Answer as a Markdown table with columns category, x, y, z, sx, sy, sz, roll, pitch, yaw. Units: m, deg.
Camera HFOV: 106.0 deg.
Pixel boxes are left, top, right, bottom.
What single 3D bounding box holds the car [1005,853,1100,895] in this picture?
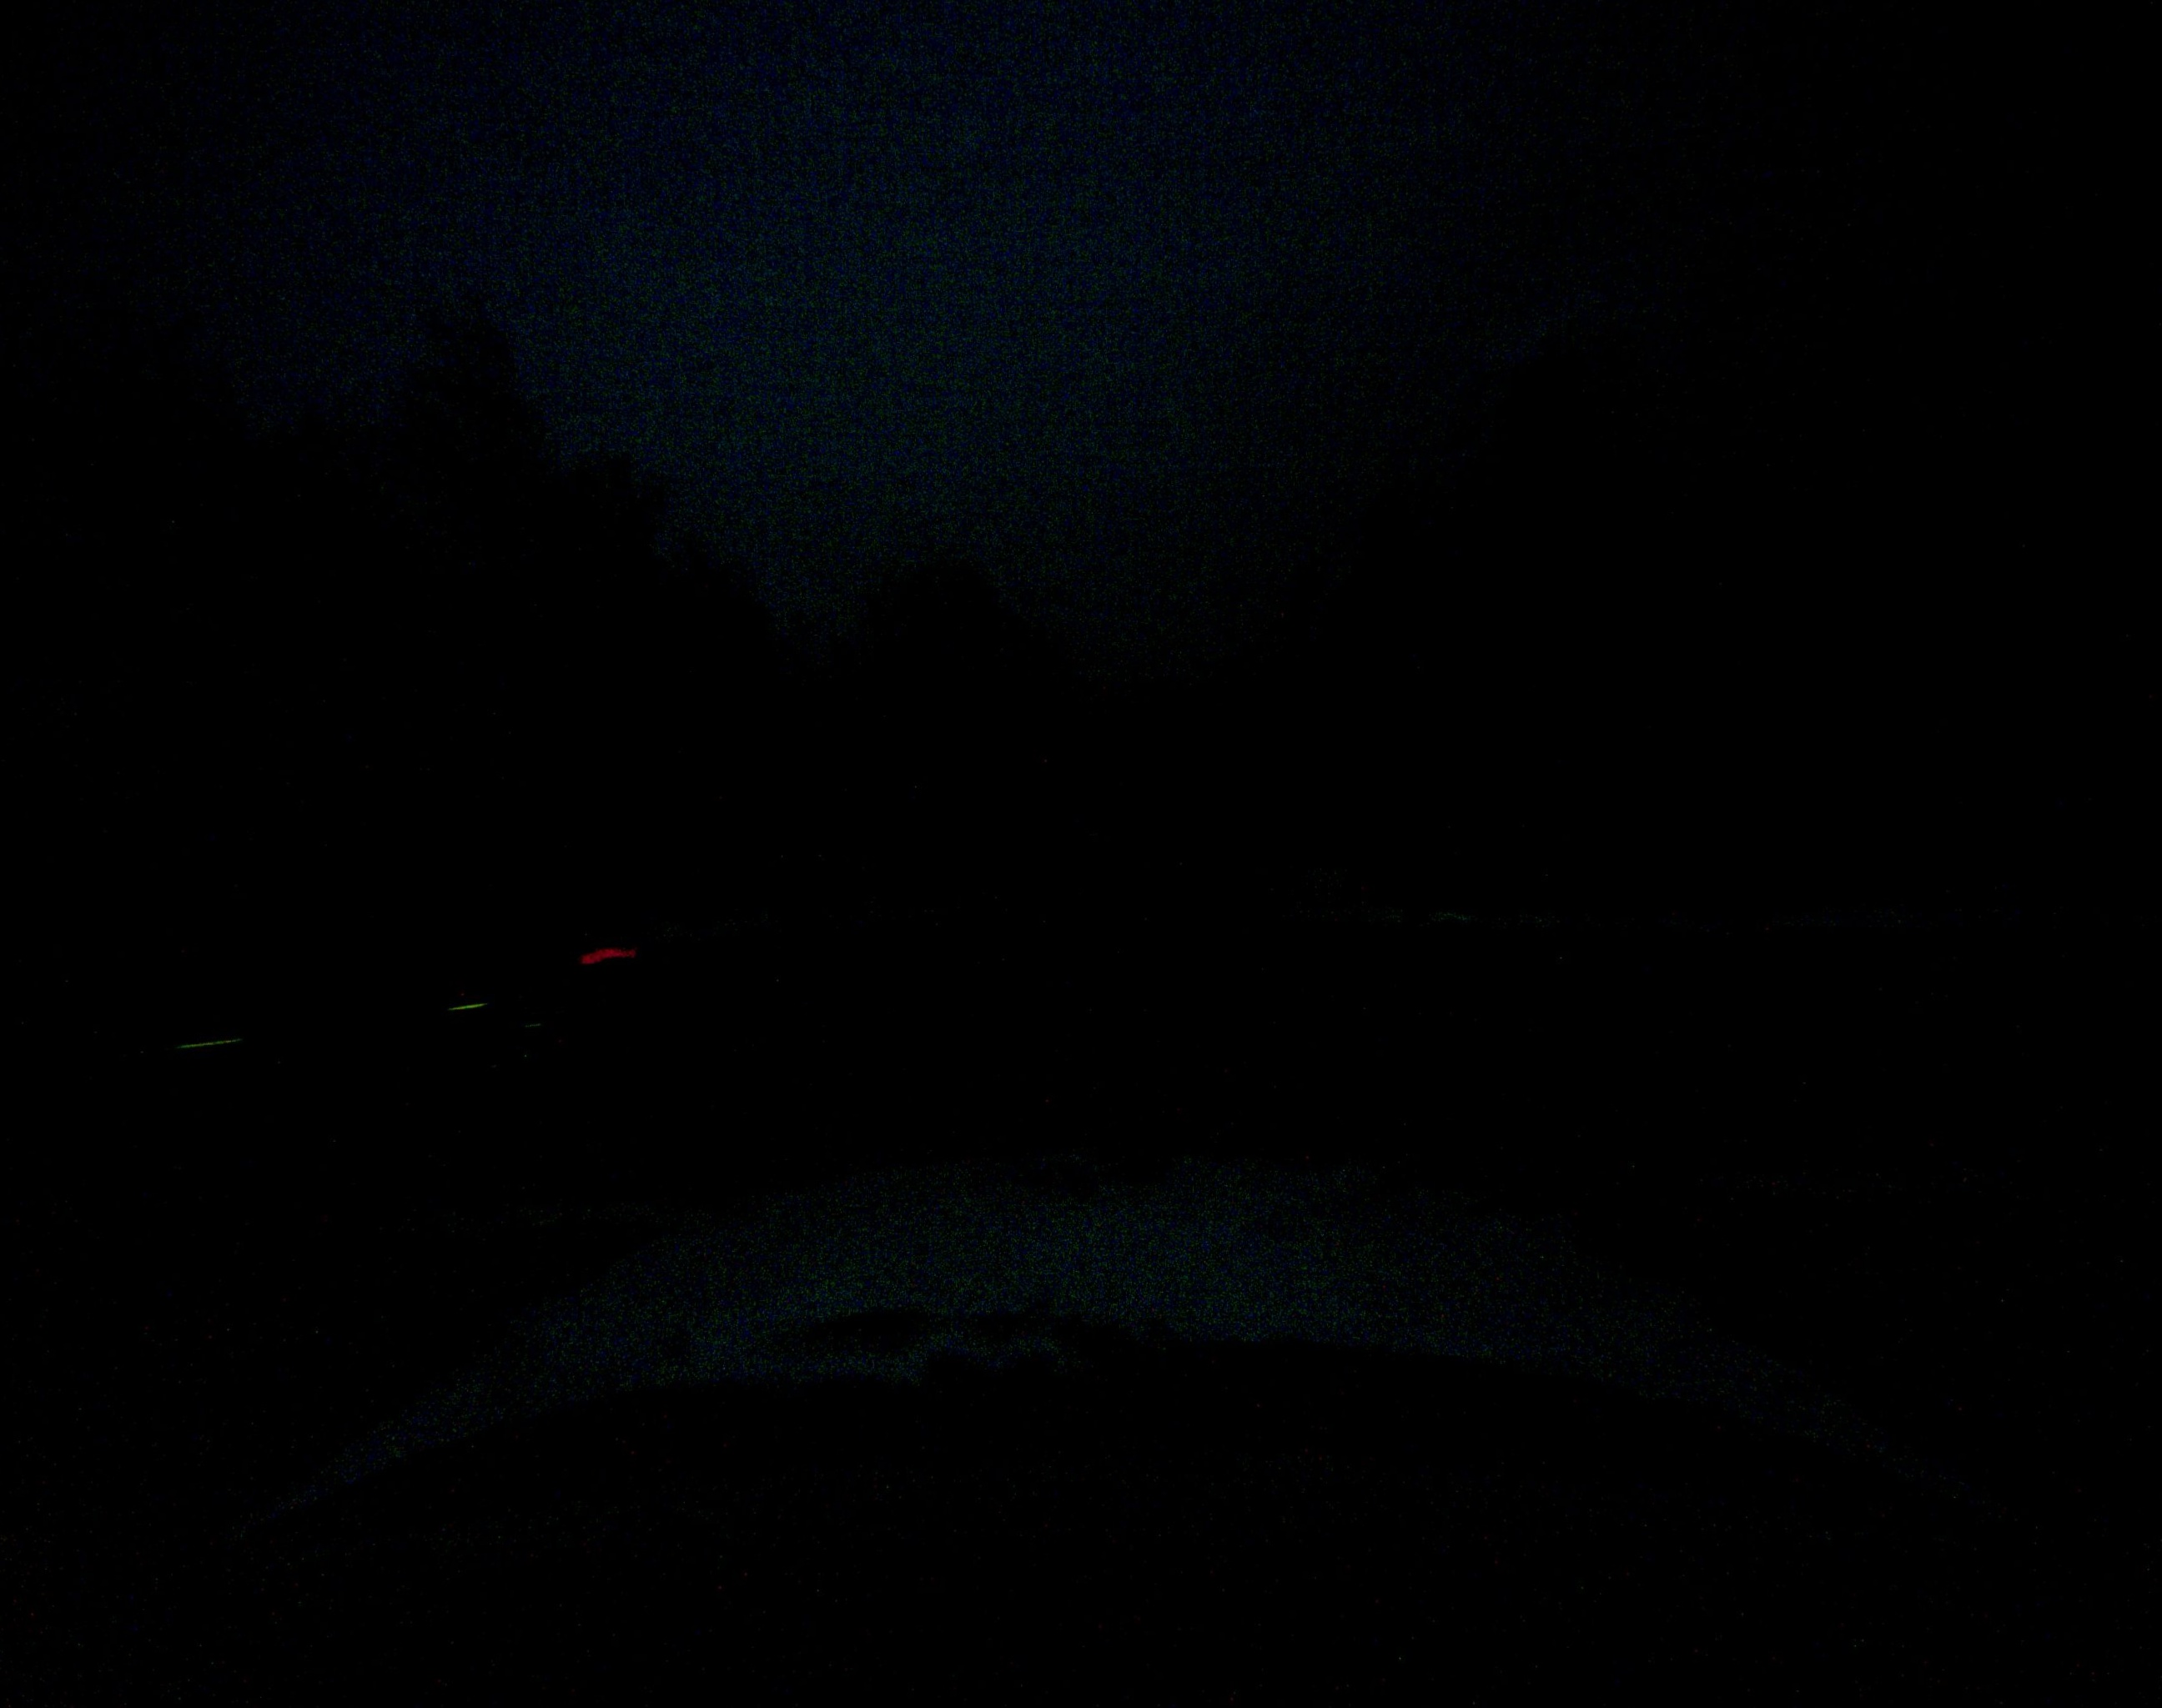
| category | x | y | z | sx | sy | sz | roll | pitch | yaw |
| --- | --- | --- | --- | --- | --- | --- | --- | --- | --- |
| car | -1.302 | 0.921 | 37.591 | 3.914 | 1.881 | 2.009 | -1 | -2 | 19 |

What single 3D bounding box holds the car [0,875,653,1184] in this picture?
| category | x | y | z | sx | sy | sz | roll | pitch | yaw |
| --- | --- | --- | --- | --- | --- | --- | --- | --- | --- |
| car | -4.831 | 0.891 | 5.290 | 3.429 | 1.452 | 1.559 | 0 | -1 | -37 |

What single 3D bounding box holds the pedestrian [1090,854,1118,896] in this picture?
| category | x | y | z | sx | sy | sz | roll | pitch | yaw |
| --- | --- | --- | --- | --- | --- | --- | --- | --- | --- |
| pedestrian | 1.036 | 0.949 | 36.211 | 0.952 | 1.828 | 0.930 | -1 | -2 | 24 |
